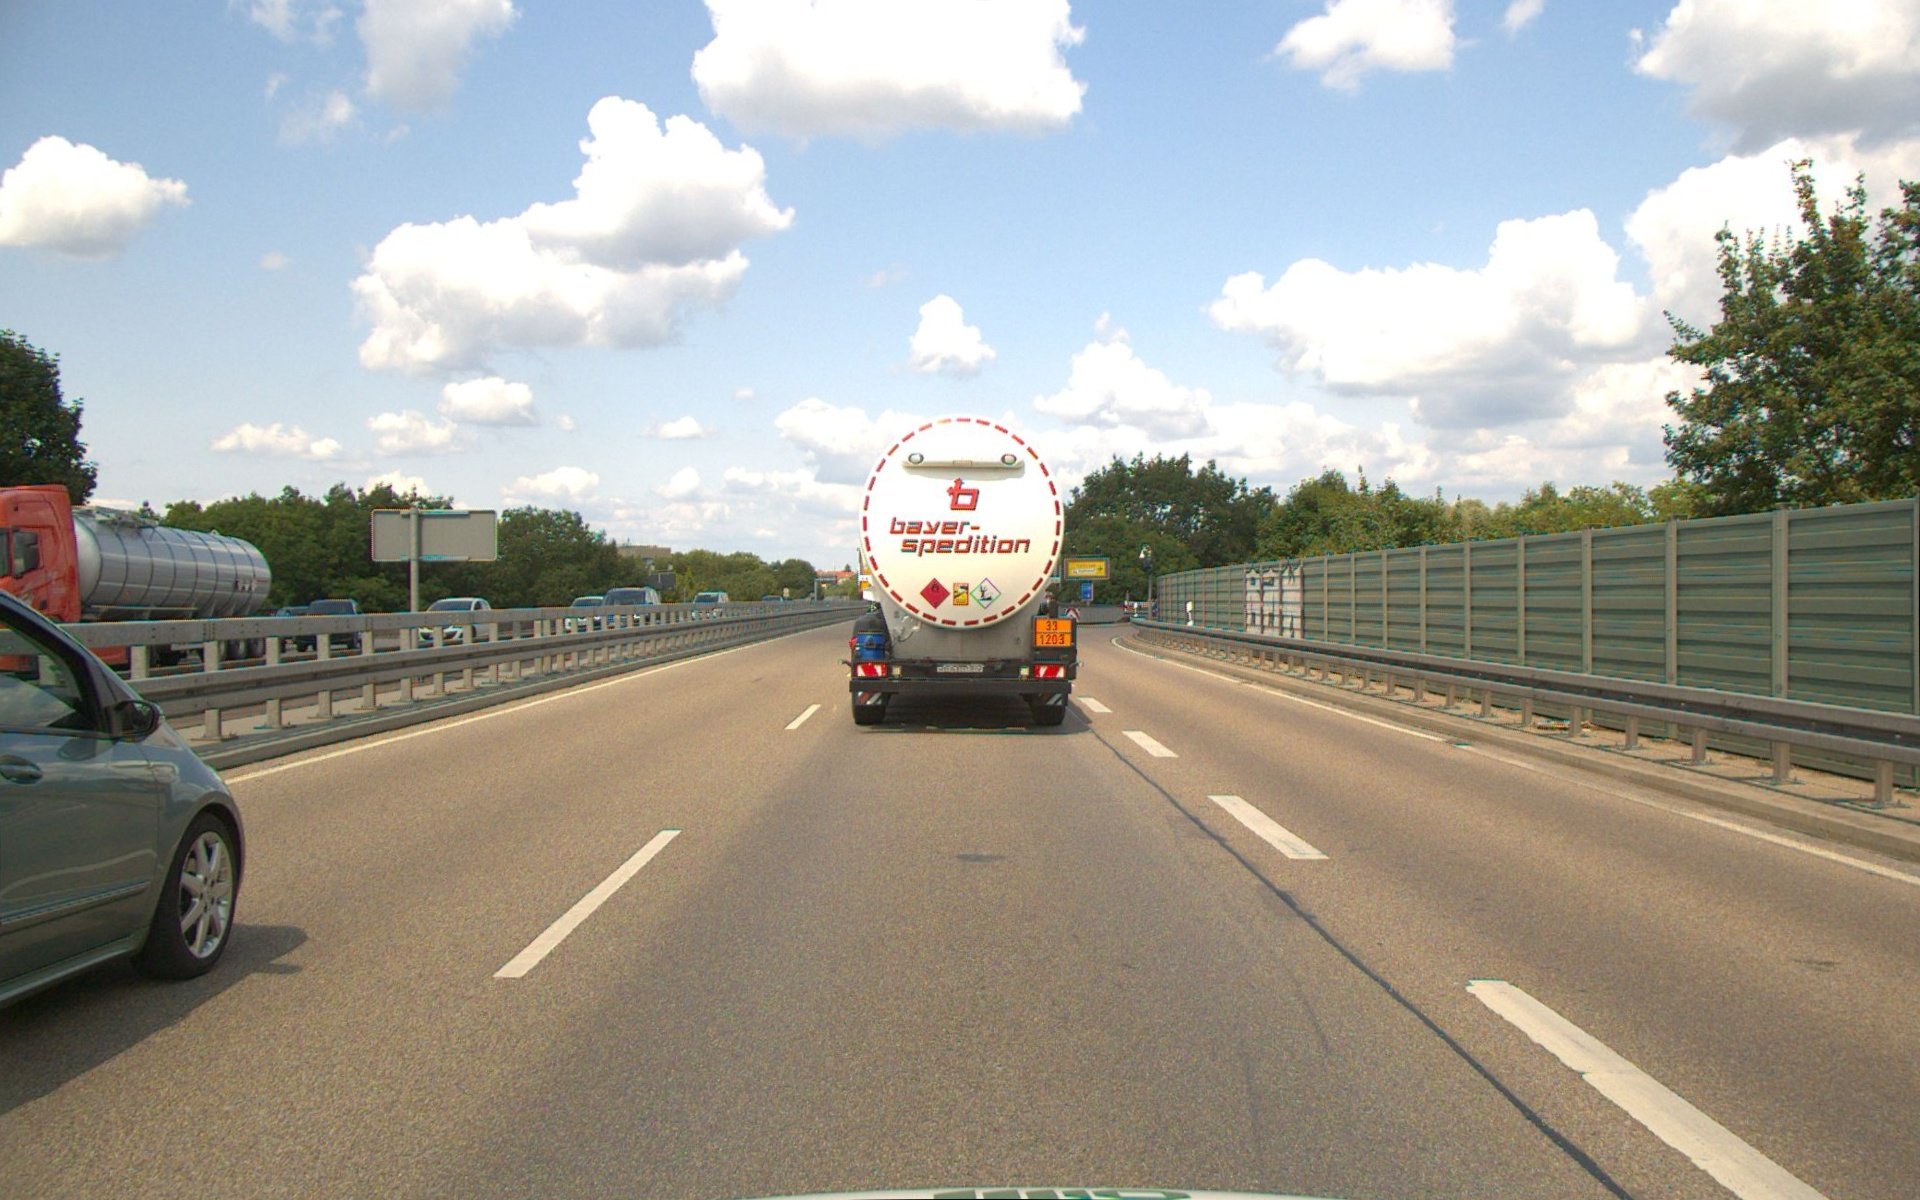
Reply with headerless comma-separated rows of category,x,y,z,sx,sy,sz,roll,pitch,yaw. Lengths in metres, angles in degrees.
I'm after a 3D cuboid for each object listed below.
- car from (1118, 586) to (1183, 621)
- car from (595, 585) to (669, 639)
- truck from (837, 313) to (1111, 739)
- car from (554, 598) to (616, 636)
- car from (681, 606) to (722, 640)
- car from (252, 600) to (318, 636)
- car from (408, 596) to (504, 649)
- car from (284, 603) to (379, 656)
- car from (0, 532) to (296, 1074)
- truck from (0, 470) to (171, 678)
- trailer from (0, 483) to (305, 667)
car,9.799,0.187,84.780,1.956,1.736,3.993,1,0,29
car,-11.400,0.419,57.730,1.954,1.780,4.592,1,0,-4
truck,0.076,-0.764,21.465,2.836,4.445,8.027,1,0,-1
car,-16.247,0.717,71.746,1.885,1.601,3.885,1,0,-2
car,-16.061,1.399,102.912,1.921,1.959,5.189,2,1,-3
car,-31.009,0.788,75.954,1.908,1.601,4.229,0,0,-36
car,-15.336,0.676,50.517,1.746,1.535,3.959,1,0,-1
car,-20.849,0.953,55.039,1.681,1.648,4.279,-2,0,-3
car,-3.618,0.584,4.932,1.712,1.558,3.999,0,0,-1
truck,-18.750,-0.494,33.646,2.595,3.848,6.229,1,0,-3
trailer,-18.952,-0.491,39.452,2.630,3.734,11.023,1,0,-2
